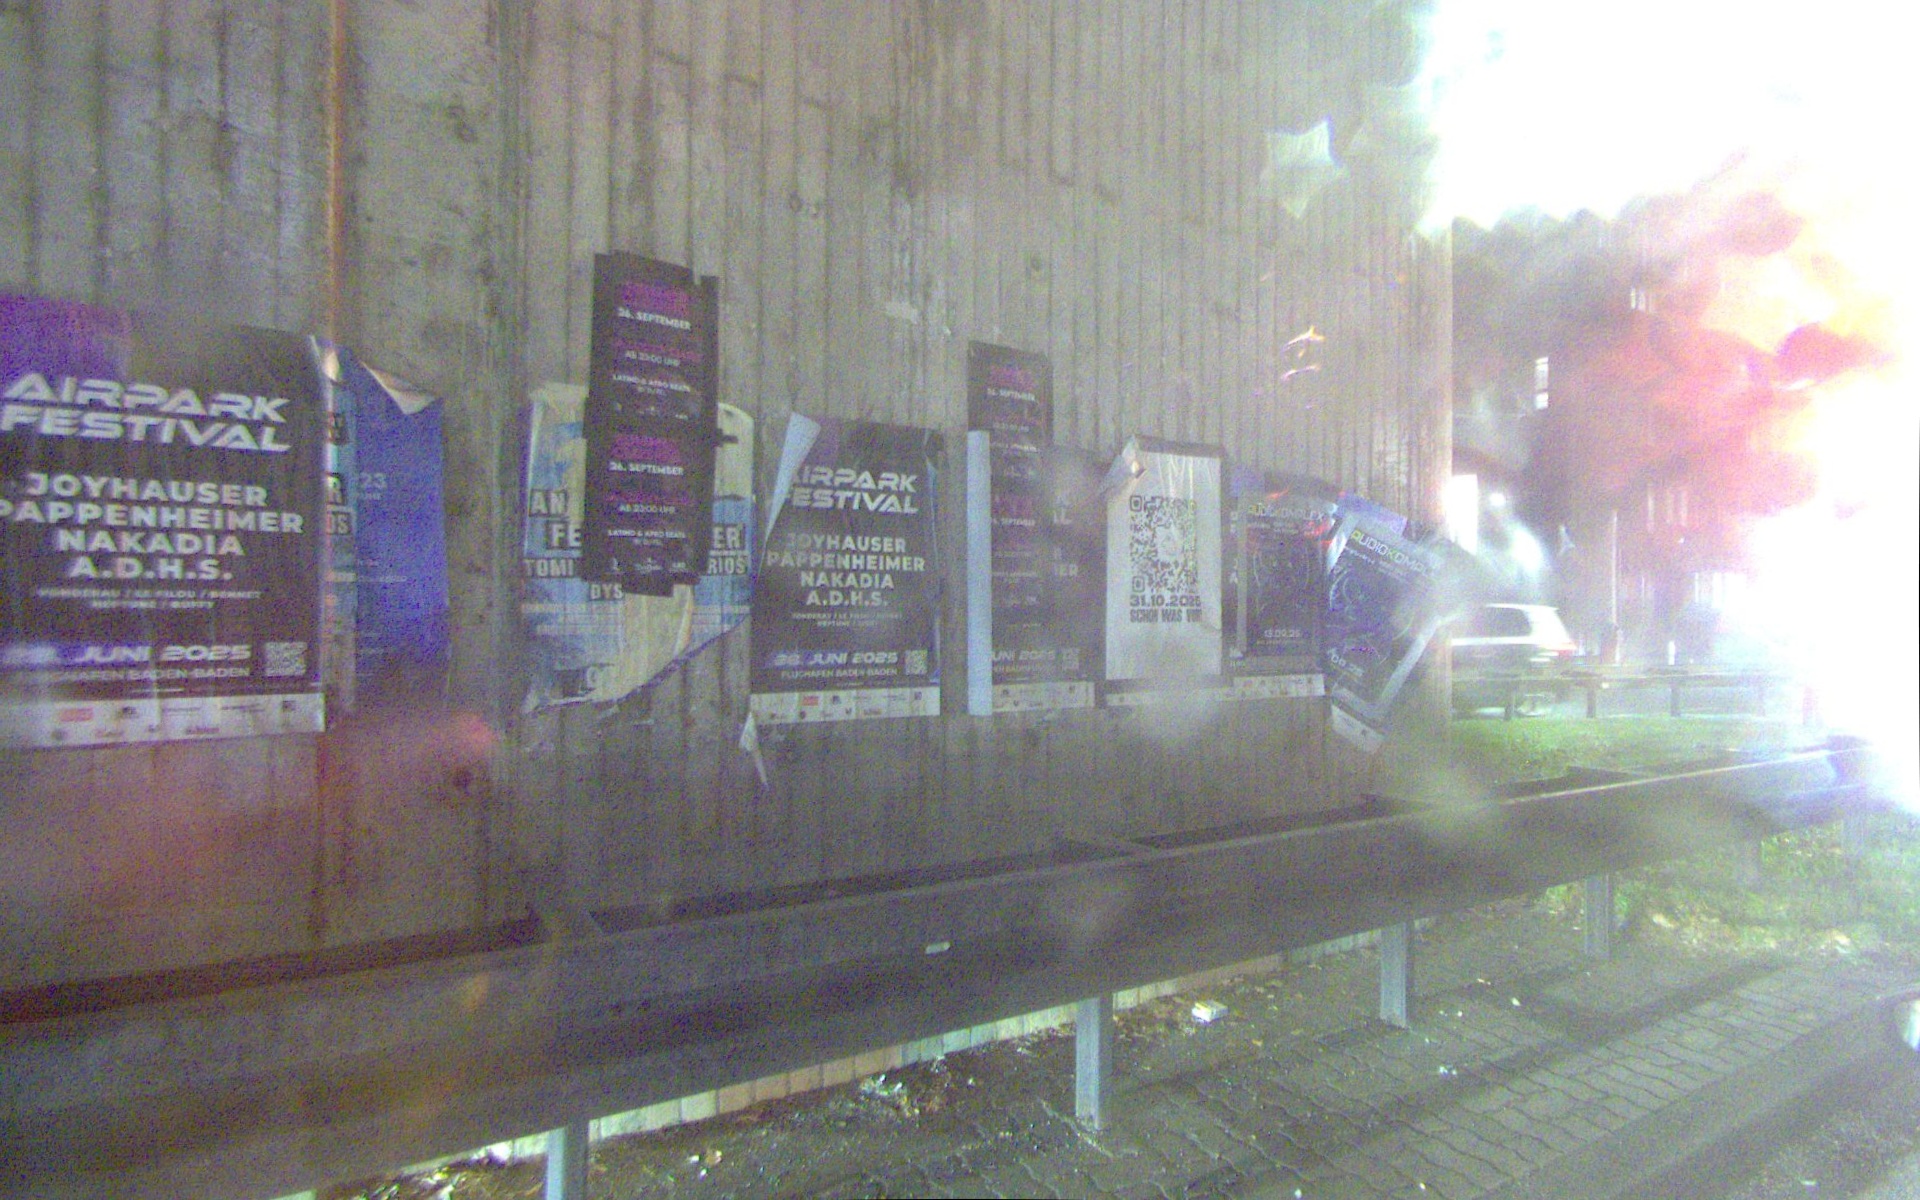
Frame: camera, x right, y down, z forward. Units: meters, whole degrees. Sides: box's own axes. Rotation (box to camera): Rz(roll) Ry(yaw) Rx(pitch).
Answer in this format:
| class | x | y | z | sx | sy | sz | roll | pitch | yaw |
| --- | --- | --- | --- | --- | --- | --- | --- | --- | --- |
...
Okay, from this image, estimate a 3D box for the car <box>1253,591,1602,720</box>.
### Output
| class | x | y | z | sx | sy | sz | roll | pitch | yaw |
| --- | --- | --- | --- | --- | --- | --- | --- | --- | --- |
| car | 7.737 | 0.911 | 16.907 | 5.012 | 2.011 | 1.999 | 1 | -1 | -5 |
